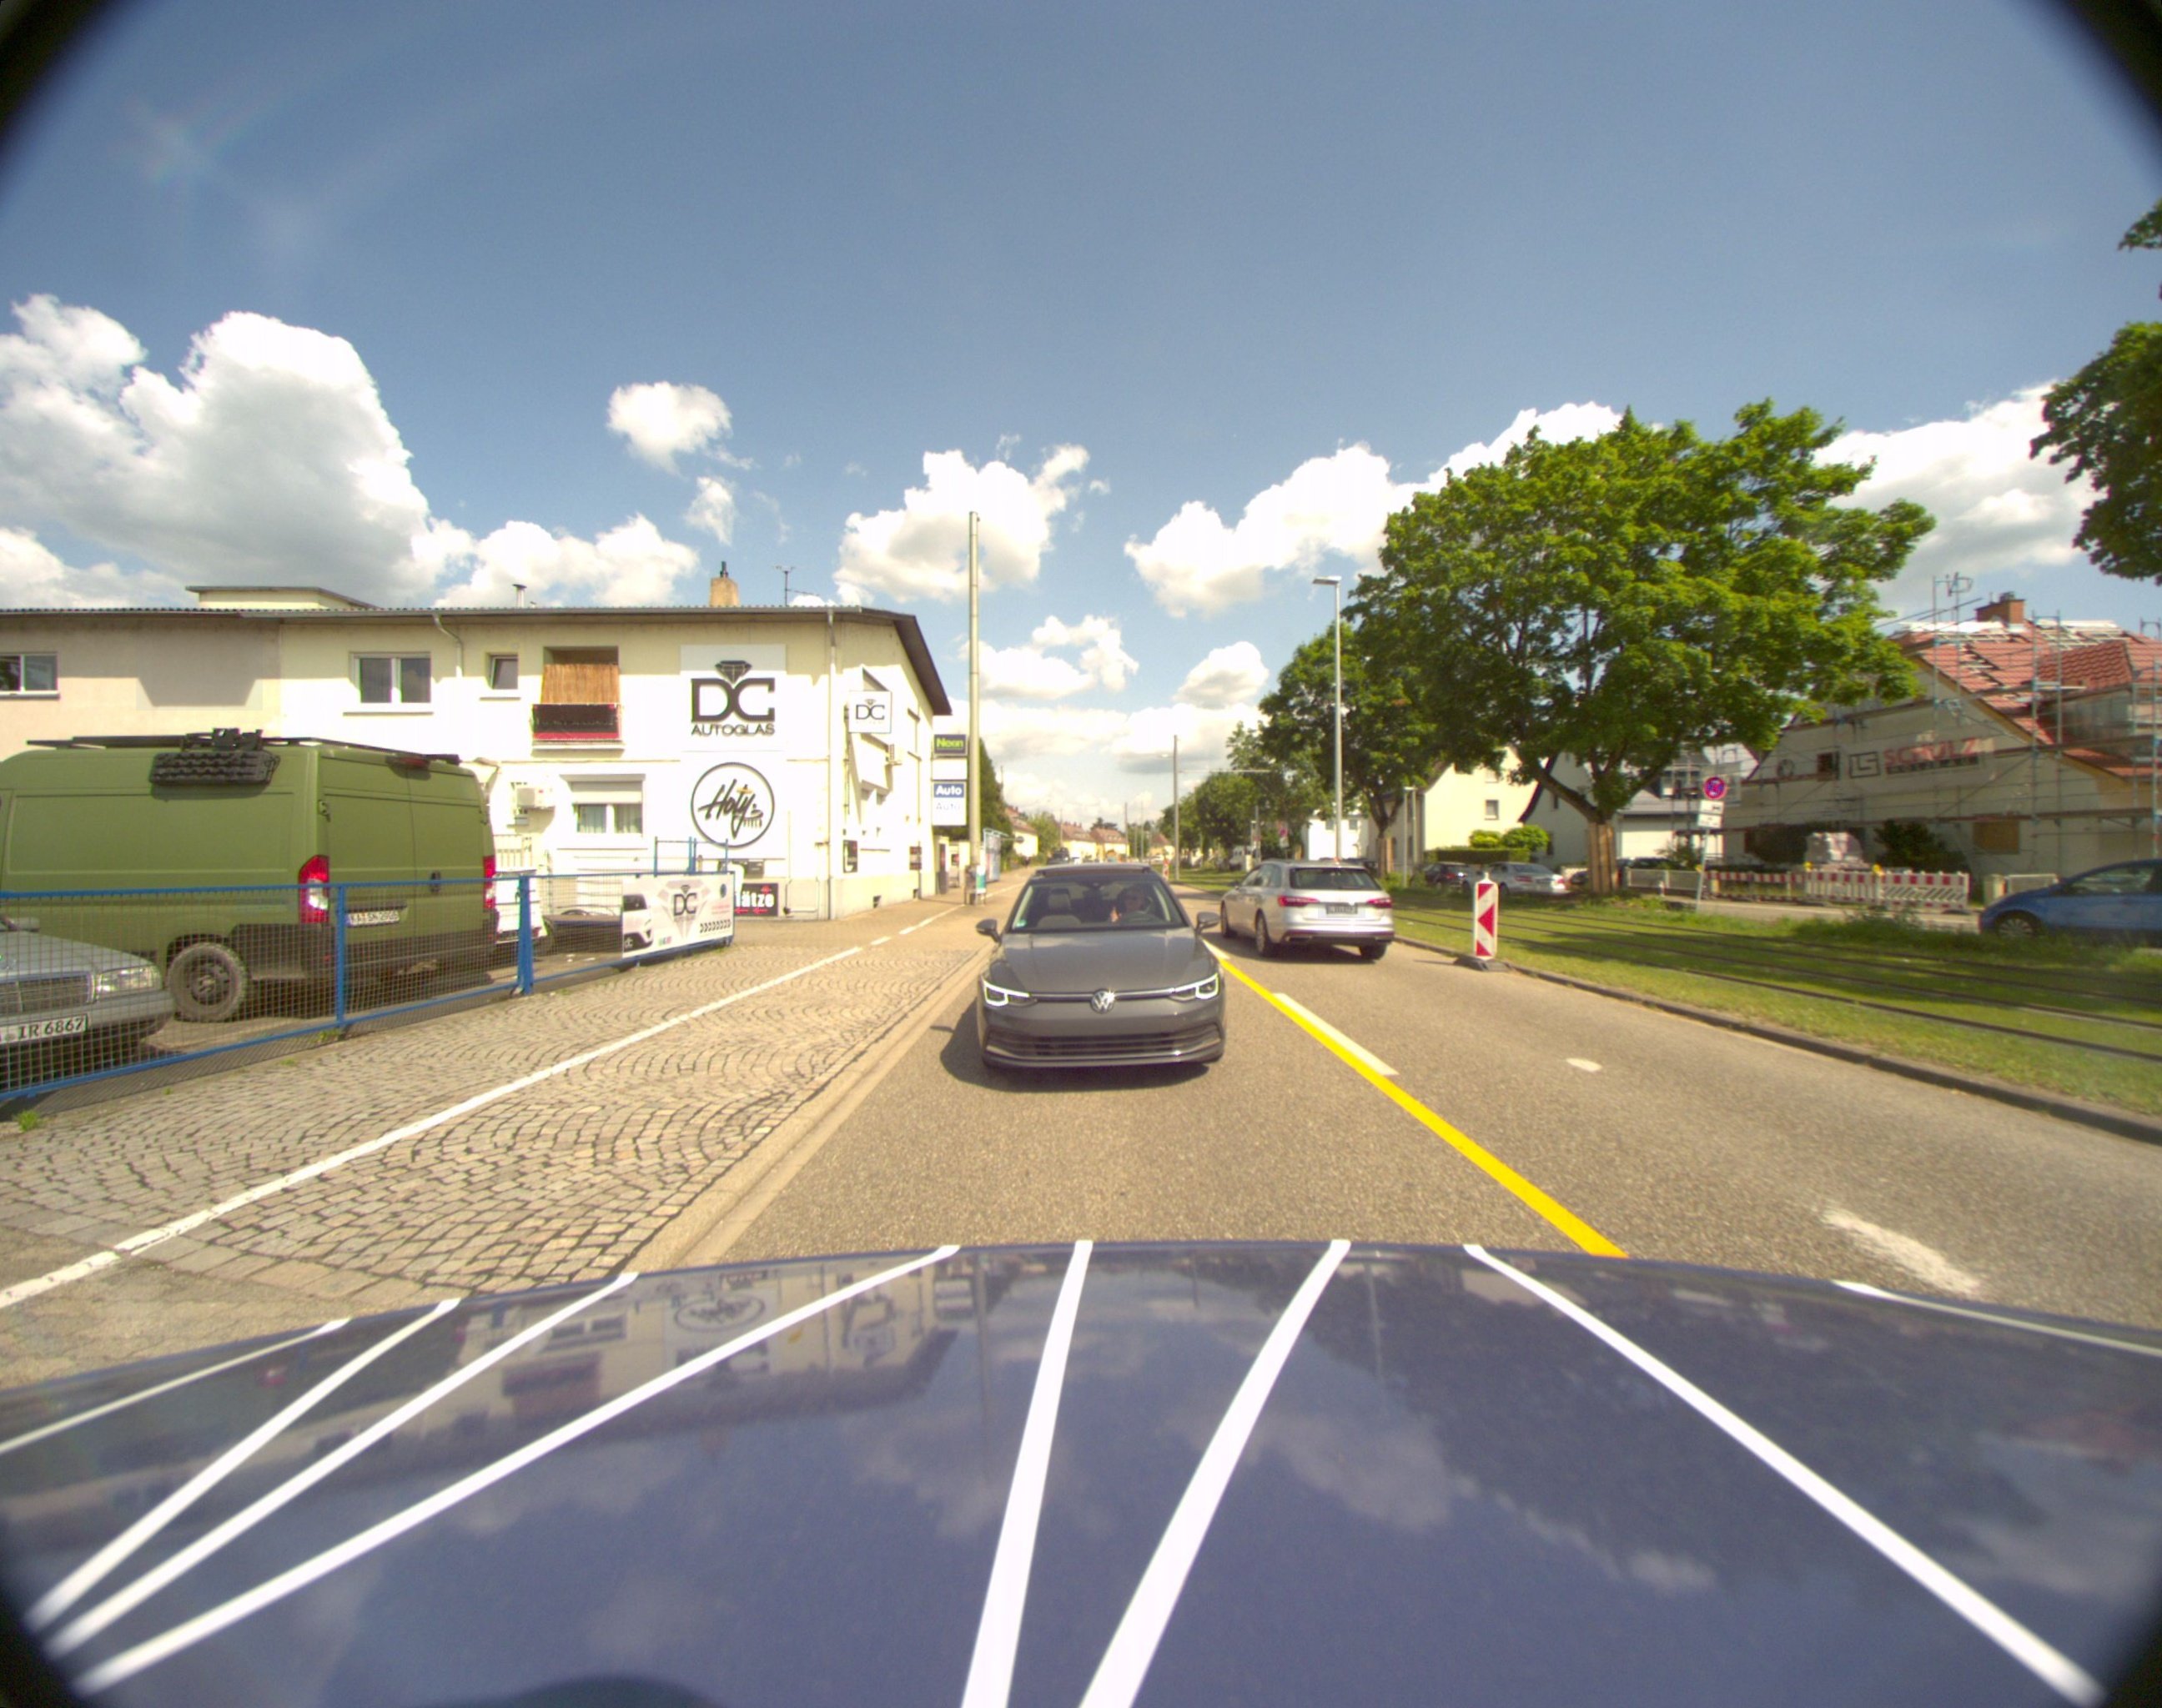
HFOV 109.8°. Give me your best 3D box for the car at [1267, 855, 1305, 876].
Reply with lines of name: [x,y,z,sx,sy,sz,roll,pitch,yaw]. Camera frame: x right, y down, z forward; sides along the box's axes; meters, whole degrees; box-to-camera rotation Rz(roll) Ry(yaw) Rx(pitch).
car: [16.497,0.922,61.359,1.755,1.602,4.606,0,0,0]

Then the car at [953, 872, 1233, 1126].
car: [0.102,0.941,6.673,1.719,1.470,4.009,0,0,1]

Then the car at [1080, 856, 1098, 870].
car: [0.867,0.947,80.090,1.787,1.470,4.009,0,0,1]

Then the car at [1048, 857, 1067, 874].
car: [-2.158,1.070,70.990,1.720,1.470,4.009,0,0,0]

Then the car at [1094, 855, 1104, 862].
car: [4.111,1.001,172.739,1.718,1.470,4.011,0,0,8]

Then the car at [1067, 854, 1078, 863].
car: [-1.361,0.743,123.070,1.719,1.470,4.009,0,0,2]

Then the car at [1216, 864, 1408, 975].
car: [3.426,0.894,12.135,1.755,1.405,4.261,0,0,0]

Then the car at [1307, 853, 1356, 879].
car: [16.681,0.769,50.910,1.755,1.602,4.606,0,0,0]

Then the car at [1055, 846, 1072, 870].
car: [-1.915,0.415,82.852,1.720,2.526,5.794,0,0,0]

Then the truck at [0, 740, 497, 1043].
truck: [-8.622,0.331,7.569,3.997,2.592,2.069,0,0,1]

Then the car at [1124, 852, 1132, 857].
car: [13.539,0.243,218.480,1.718,1.470,4.013,0,0,13]

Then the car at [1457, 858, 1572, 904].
car: [16.390,0.970,29.009,1.755,1.602,4.606,0,0,0]

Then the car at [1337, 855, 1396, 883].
car: [16.903,0.856,45.270,1.755,1.602,4.606,0,0,0]

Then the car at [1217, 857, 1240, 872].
car: [16.935,1.158,87.272,1.755,1.602,4.606,0,0,0]

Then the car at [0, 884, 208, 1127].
car: [-8.436,0.920,4.813,4.206,1.388,1.804,0,0,8]

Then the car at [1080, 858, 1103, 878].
car: [0.797,1.043,58.840,1.719,1.470,4.009,0,0,1]

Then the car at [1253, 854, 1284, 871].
car: [17.587,0.761,71.498,1.755,1.602,4.606,0,0,0]

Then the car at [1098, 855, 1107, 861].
car: [5.184,1.003,179.088,1.718,1.470,4.011,0,0,8]

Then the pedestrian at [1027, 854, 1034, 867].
pedestrian: [-6.287,0.785,94.895,0.816,1.577,0.918,0,0,1]

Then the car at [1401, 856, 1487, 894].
car: [16.591,0.922,35.032,1.755,1.602,4.606,0,0,0]

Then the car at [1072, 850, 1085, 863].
car: [-0.424,0.405,136.325,1.719,2.360,5.211,0,0,5]

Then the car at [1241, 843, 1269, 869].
car: [17.648,0.203,77.100,1.755,2.601,4.606,0,0,0]

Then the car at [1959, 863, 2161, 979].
car: [16.201,0.963,11.234,1.755,1.602,4.050,0,0,0]

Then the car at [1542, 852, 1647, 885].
car: [25.513,0.726,37.846,4.047,1.602,1.757,0,0,1]

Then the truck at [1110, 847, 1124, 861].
truck: [9.563,0.030,201.295,2.589,3.431,8.585,0,0,11]

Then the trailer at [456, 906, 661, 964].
trailer: [-8.061,1.240,11.839,2.329,0.762,1.269,0,0,2]

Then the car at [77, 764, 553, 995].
car: [-9.454,0.304,9.655,4.209,2.653,1.803,0,0,0]
